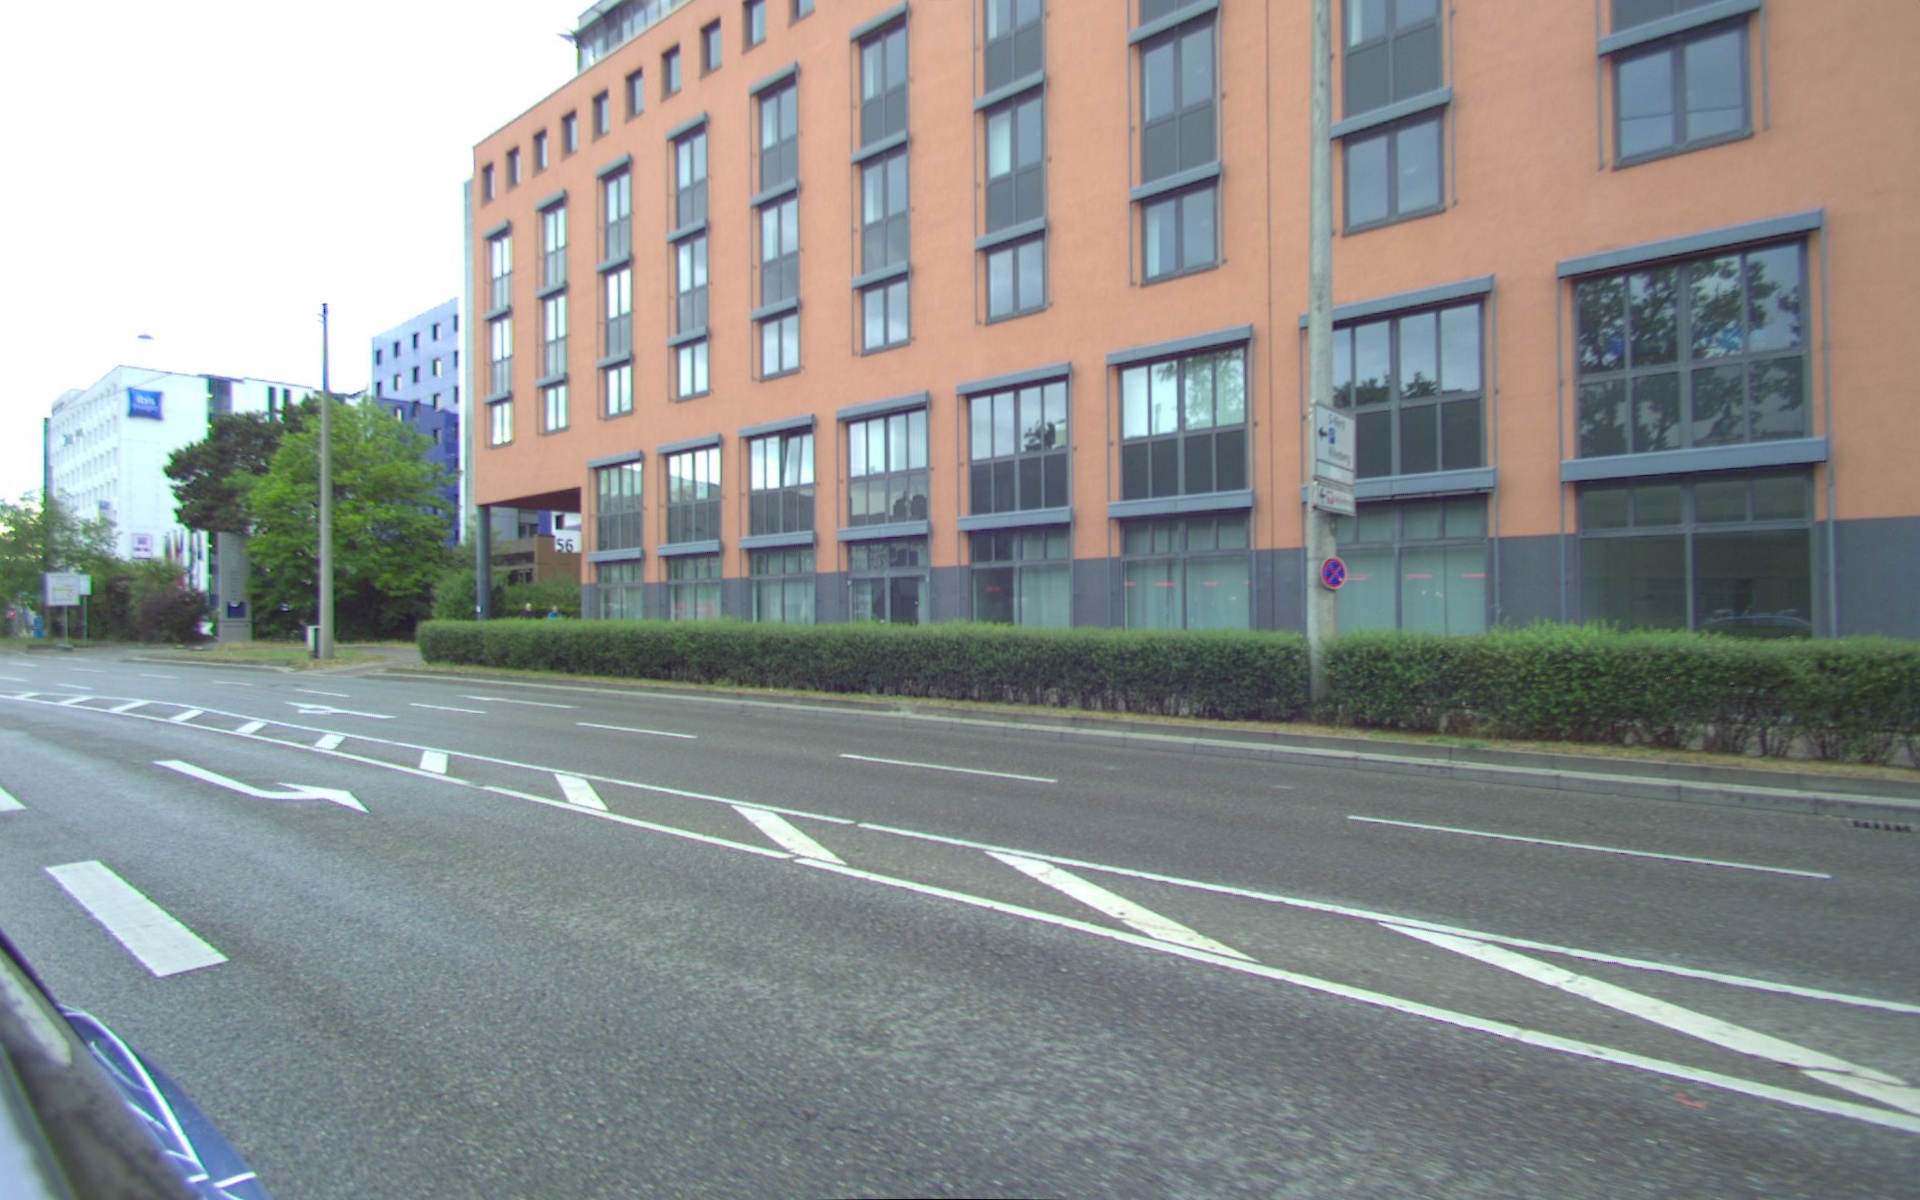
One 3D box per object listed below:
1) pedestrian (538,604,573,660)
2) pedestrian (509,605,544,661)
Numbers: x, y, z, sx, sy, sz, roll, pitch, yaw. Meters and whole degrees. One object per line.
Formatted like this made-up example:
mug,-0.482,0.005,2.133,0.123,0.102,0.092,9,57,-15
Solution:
pedestrian,-13.833,1.093,34.594,0.885,1.855,0.738,-1,0,40
pedestrian,-14.572,1.096,34.023,0.885,1.855,0.738,-1,0,40
